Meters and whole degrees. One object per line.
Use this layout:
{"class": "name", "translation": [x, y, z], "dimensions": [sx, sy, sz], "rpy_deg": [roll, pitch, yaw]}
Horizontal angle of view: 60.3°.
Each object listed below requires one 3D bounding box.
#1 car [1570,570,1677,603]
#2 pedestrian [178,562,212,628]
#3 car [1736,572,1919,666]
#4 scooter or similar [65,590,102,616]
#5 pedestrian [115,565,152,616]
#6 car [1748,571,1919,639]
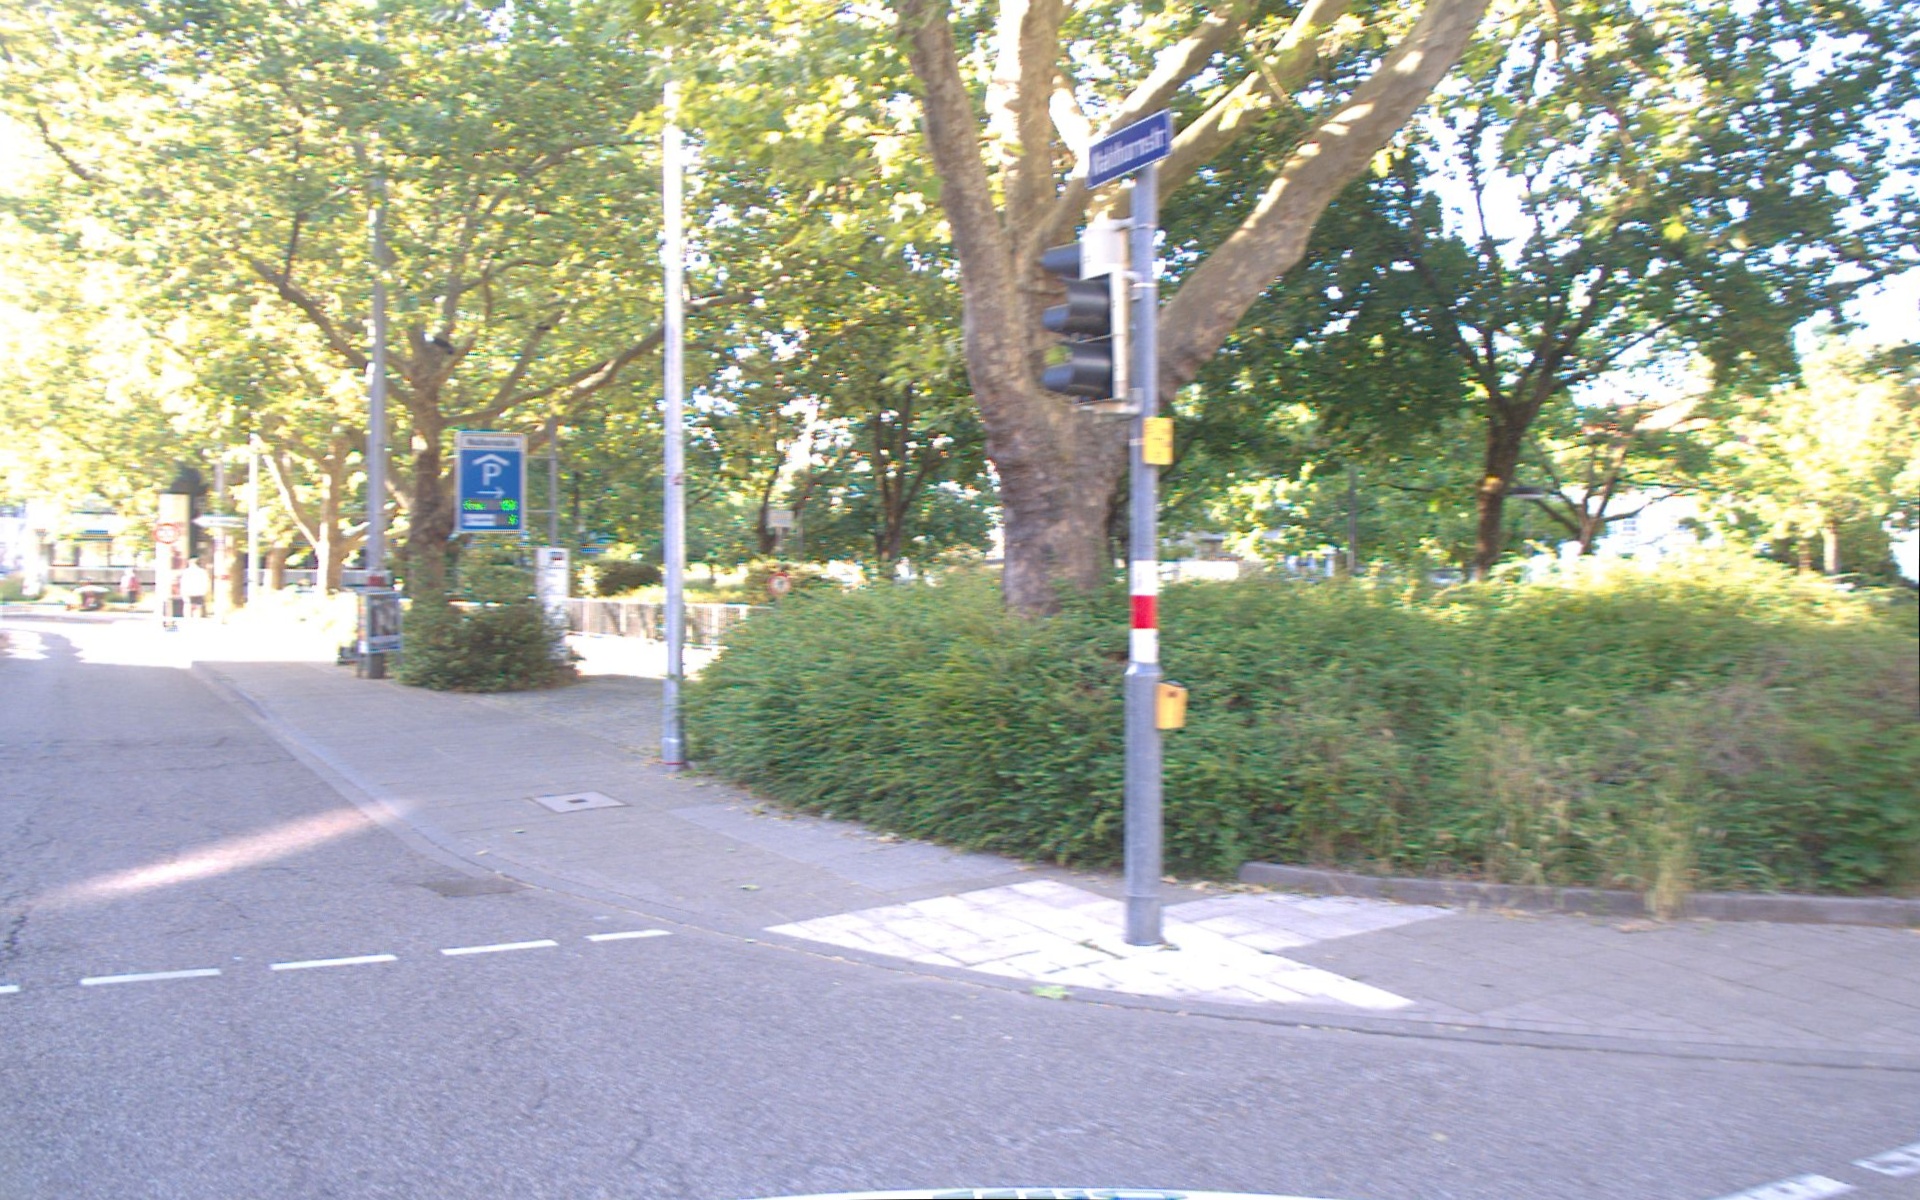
{"class": "car", "translation": [31.957, -0.679, 79.796], "dimensions": [1.985, 1.500, 4.614], "rpy_deg": [1, 0, -28]}
{"class": "pedestrian", "translation": [-21.874, -0.147, 47.286], "dimensions": [0.738, 1.844, 1.121], "rpy_deg": [0, 2, -32]}
{"class": "car", "translation": [18.763, 0.349, 34.709], "dimensions": [1.763, 1.843, 4.268], "rpy_deg": [0, 1, -30]}
{"class": "scooter or similar", "translation": [-32.466, 0.099, 61.278], "dimensions": [1.138, 0.930, 0.414], "rpy_deg": [-2, 1, -37]}
{"class": "pedestrian", "translation": [-26.908, -0.305, 53.854], "dimensions": [0.918, 1.651, 0.709], "rpy_deg": [0, 0, 29]}
{"class": "car", "translation": [22.754, 0.106, 42.741], "dimensions": [1.897, 1.654, 3.963], "rpy_deg": [1, 0, -29]}
